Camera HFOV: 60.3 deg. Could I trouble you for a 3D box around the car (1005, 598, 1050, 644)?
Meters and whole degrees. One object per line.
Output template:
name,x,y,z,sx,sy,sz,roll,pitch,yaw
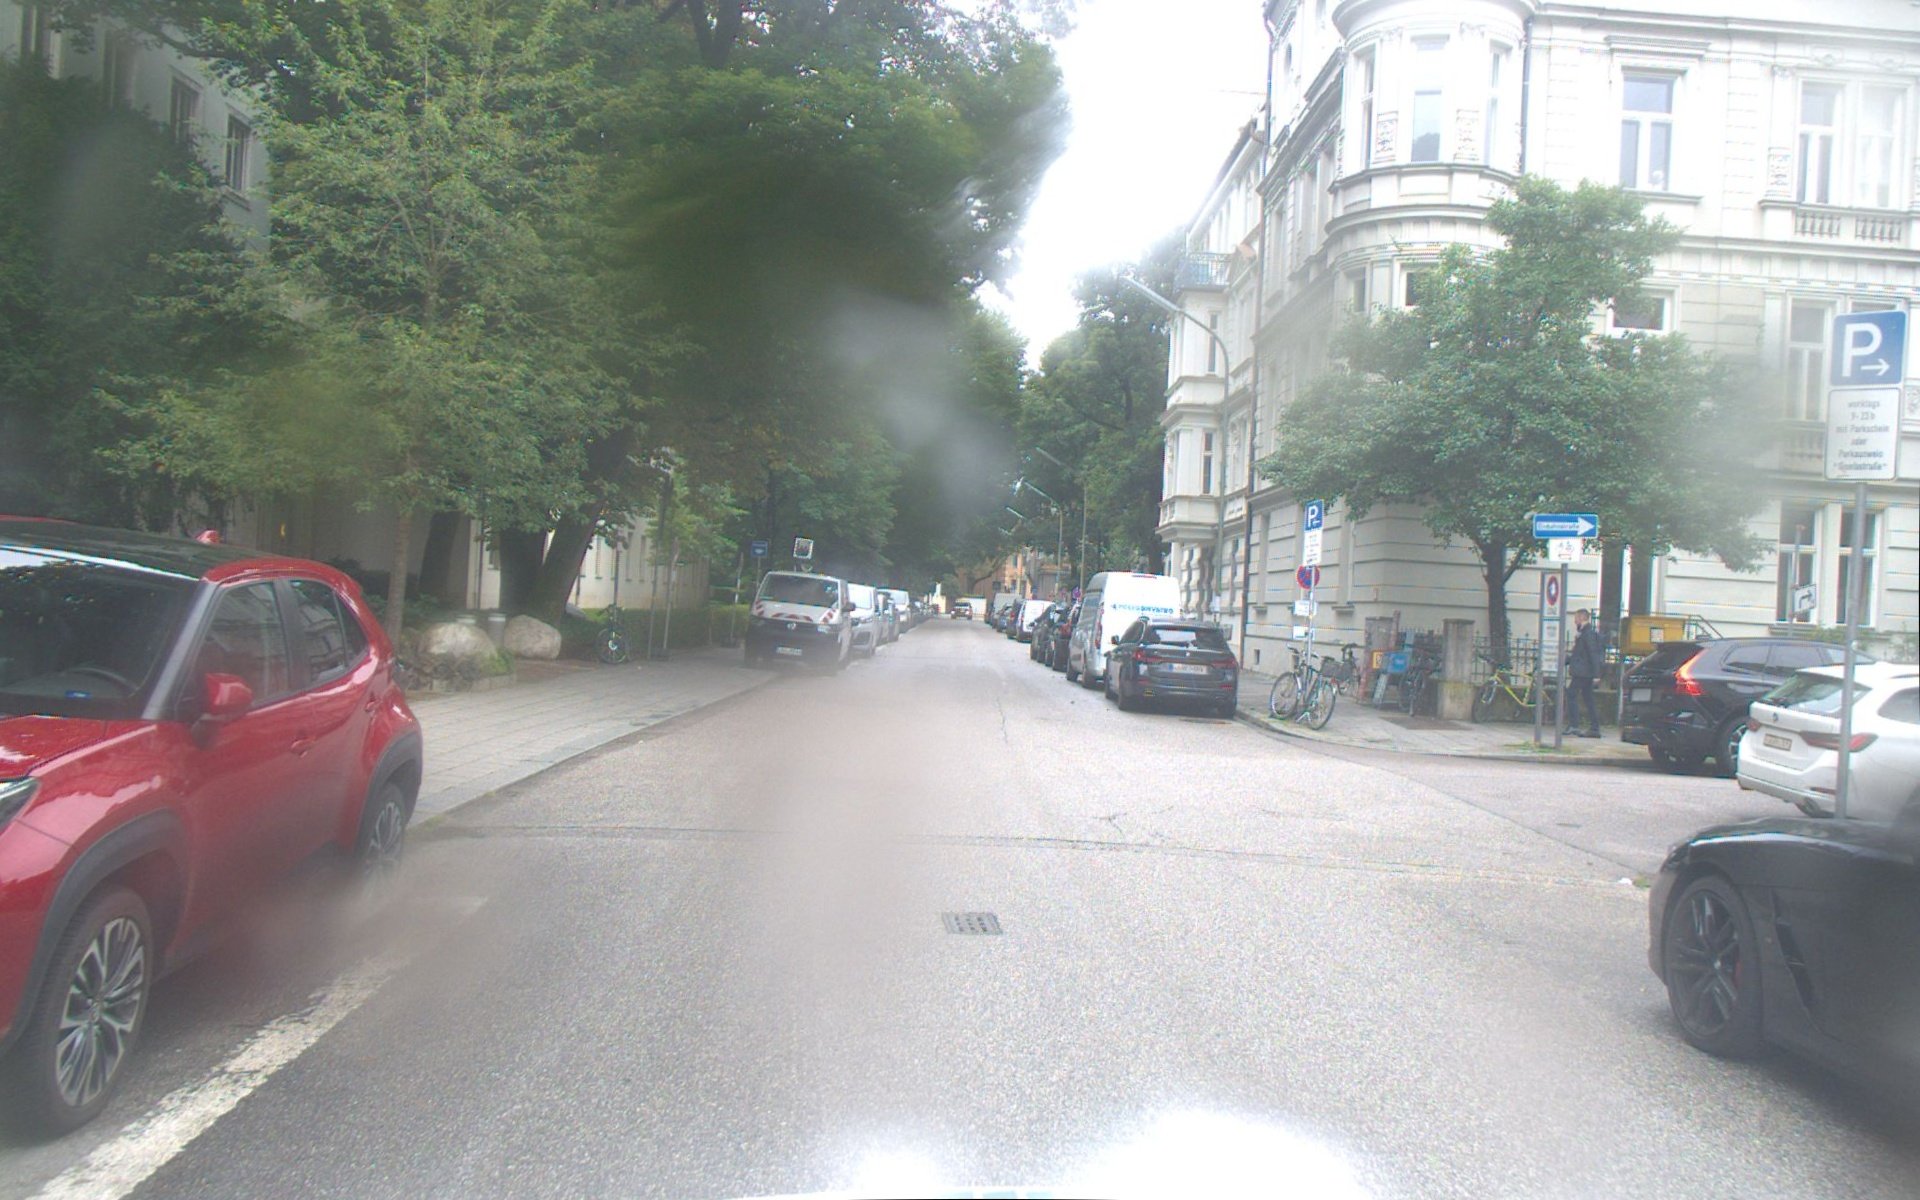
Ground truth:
car,3.129,0.966,77.242,1.952,2.010,4.001,2,0,1

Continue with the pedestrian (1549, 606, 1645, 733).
pedestrian,8.915,0.961,23.182,0.953,1.719,0.860,2,0,-2

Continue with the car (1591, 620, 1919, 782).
car,10.446,1.272,19.936,4.938,1.681,1.942,3,-4,-4

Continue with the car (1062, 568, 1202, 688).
car,3.462,0.566,34.200,2.159,2.247,4.853,2,-1,-2

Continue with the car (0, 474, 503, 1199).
car,-3.092,0.469,5.768,1.850,1.618,4.525,4,0,-3

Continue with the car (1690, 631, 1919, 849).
car,9.061,1.213,14.078,4.809,1.558,1.912,3,2,-4

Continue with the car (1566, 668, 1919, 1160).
car,3.795,0.984,5.105,1.960,1.342,4.592,1,0,-3

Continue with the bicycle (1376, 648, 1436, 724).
bicycle,7.021,1.337,26.077,0.421,1.046,1.891,2,1,1

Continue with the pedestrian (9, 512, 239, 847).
pedestrian,-4.222,0.390,8.409,0.700,1.575,0.751,5,-1,-6

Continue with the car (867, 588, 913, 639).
car,-3.281,0.617,78.668,1.962,2.224,4.694,4,0,-2

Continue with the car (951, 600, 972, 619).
car,0.149,0.926,165.294,1.952,1.814,4.001,2,0,1

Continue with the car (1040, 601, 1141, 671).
car,3.324,0.902,43.038,2.095,1.658,4.313,2,-1,-2

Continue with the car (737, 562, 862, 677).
car,-3.187,0.372,33.944,2.203,1.990,5.450,4,0,-3

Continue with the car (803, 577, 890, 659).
car,-3.109,0.473,45.666,2.141,1.990,5.163,4,0,-3

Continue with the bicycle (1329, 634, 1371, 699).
bicycle,6.975,1.172,29.631,0.534,1.079,1.752,3,0,8

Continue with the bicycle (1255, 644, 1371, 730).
bicycle,5.045,1.222,23.805,0.643,1.046,2.193,2,1,-16

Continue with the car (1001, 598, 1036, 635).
car,3.387,0.946,96.434,1.952,2.049,4.001,2,0,1

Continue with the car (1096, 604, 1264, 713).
car,3.501,0.900,27.234,2.225,1.573,4.587,2,-1,1

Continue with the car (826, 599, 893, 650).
car,-3.416,0.813,57.068,2.028,1.546,4.236,4,0,-1

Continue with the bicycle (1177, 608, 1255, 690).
bicycle,5.201,0.978,33.733,0.696,1.542,2.029,3,0,-17

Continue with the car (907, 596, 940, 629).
car,-2.638,0.881,118.046,2.007,2.192,4.311,4,0,-3

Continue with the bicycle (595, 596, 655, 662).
bicycle,-6.090,0.517,30.170,0.620,1.122,1.767,4,-1,1

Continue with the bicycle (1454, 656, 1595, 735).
bicycle,8.443,1.422,24.785,1.883,1.046,0.557,3,1,2
